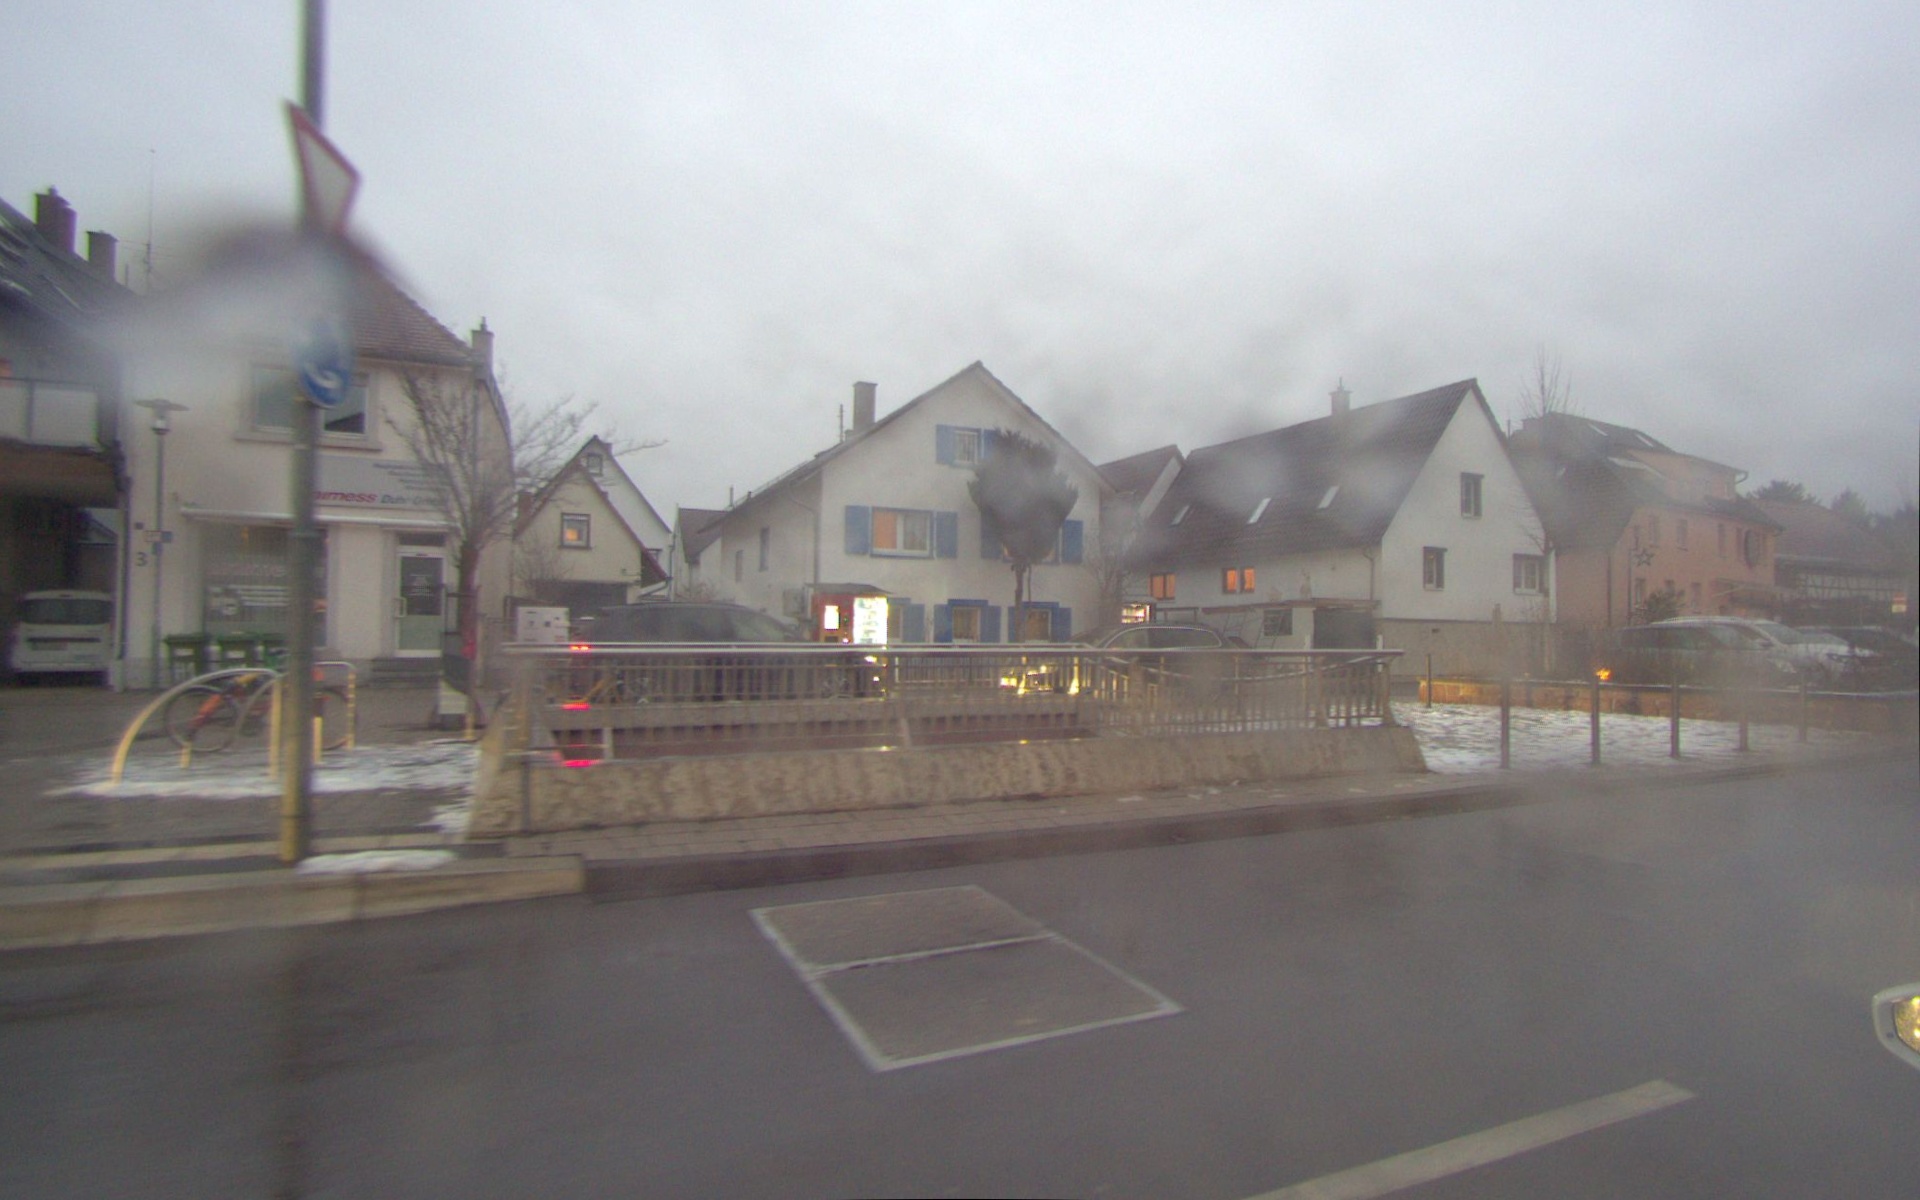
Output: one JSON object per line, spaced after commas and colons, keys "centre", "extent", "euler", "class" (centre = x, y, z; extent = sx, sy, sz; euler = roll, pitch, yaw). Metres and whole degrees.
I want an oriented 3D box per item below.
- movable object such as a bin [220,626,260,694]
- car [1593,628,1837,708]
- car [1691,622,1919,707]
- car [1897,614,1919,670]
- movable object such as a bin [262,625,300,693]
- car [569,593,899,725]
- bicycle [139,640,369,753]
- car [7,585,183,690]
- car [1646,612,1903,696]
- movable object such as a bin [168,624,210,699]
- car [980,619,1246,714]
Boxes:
{"centre": [-12.385, 1.027, 17.291], "extent": [0.447, 1.135, 0.286], "euler": [4, -1, -25], "class": "movable object such as a bin"}
{"centre": [14.392, 1.242, 19.332], "extent": [1.582, 1.390, 3.428], "euler": [1, -2, -30], "class": "car"}
{"centre": [18.794, 1.353, 22.131], "extent": [1.566, 1.629, 4.079], "euler": [2, -1, -26], "class": "car"}
{"centre": [30.439, 1.286, 28.997], "extent": [1.978, 1.689, 4.600], "euler": [2, -1, -32], "class": "car"}
{"centre": [-11.842, 1.026, 17.520], "extent": [0.447, 1.157, 0.286], "euler": [4, -1, -25], "class": "movable object such as a bin"}
{"centre": [-3.321, 0.844, 14.847], "extent": [4.501, 1.723, 1.751], "euler": [1, -3, -25], "class": "car"}
{"centre": [-6.694, 0.904, 9.597], "extent": [1.709, 1.023, 0.470], "euler": [1, -2, -14], "class": "bicycle"}
{"centre": [-16.903, 0.736, 19.823], "extent": [1.491, 1.877, 3.411], "euler": [2, -2, -21], "class": "car"}
{"centre": [16.613, 1.053, 20.715], "extent": [1.690, 1.543, 3.785], "euler": [2, -1, -23], "class": "car"}
{"centre": [-13.030, 1.041, 16.986], "extent": [0.447, 1.225, 0.286], "euler": [4, -1, -25], "class": "movable object such as a bin"}
{"centre": [2.769, 1.133, 17.933], "extent": [4.514, 1.502, 1.796], "euler": [1, -3, -28], "class": "car"}
